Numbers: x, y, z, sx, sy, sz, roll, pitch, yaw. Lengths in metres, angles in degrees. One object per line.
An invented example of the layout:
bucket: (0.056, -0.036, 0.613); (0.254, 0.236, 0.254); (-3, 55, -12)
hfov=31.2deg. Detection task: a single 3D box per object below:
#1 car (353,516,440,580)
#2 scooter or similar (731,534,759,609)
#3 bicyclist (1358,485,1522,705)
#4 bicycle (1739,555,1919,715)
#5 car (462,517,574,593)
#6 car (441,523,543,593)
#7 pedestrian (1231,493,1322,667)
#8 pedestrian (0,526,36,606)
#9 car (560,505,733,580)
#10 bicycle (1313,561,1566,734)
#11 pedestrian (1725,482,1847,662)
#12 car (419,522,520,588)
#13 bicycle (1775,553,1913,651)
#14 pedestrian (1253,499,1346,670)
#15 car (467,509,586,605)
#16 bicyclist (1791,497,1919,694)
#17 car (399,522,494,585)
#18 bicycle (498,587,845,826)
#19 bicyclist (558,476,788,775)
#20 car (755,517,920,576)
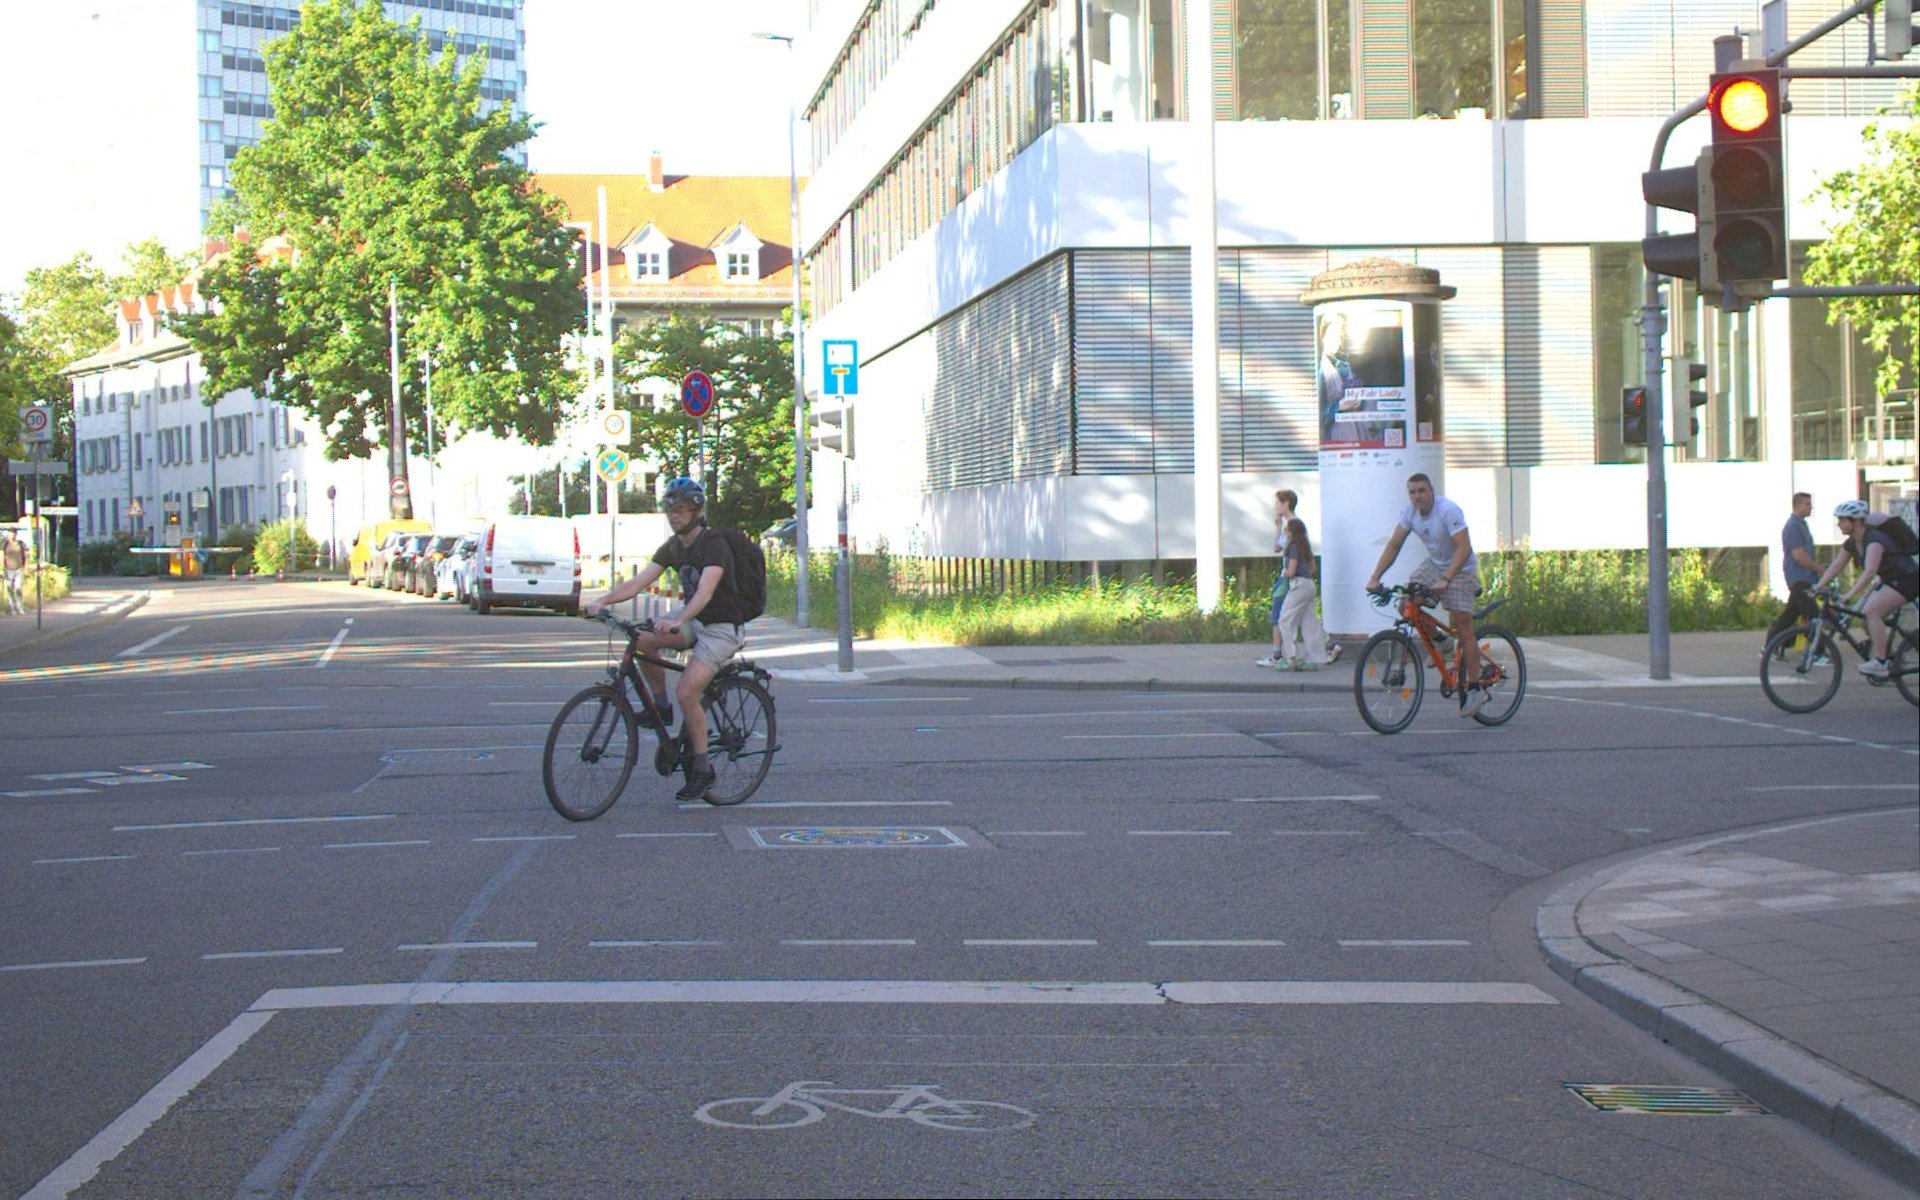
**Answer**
car: (-15.731, -1.446, 95.841); (1.993, 1.719, 4.653); (1, 1, -14)
scooter or similar: (-3.653, -0.491, 58.297); (0.437, 1.252, 1.420); (-1, 1, -4)
bicyclist: (3.403, -0.045, 24.370); (0.916, 1.517, 0.704); (-2, 2, -41)
bicycle: (6.820, 0.247, 25.817); (1.778, 1.148, 0.628); (-1, 1, -10)
car: (-9.164, -0.932, 71.042); (1.993, 1.493, 4.653); (1, 1, -11)
car: (-10.498, -0.932, 76.814); (1.993, 1.493, 4.653); (1, 1, -11)
pedestrian: (3.311, -0.214, 35.964); (0.766, 1.789, 0.647); (1, 0, 22)
pedestrian: (-18.705, -0.678, 68.175); (0.699, 1.581, 0.637); (1, 0, -16)
car: (-9.394, -1.699, 102.937); (4.791, 2.151, 2.001); (1, 0, -17)
bicycle: (3.413, 0.315, 24.367); (1.964, 1.148, 0.627); (-2, 2, -41)
pedestrian: (8.440, -0.287, 35.122); (0.760, 1.809, 0.917); (0, 0, -39)
car: (-11.619, -1.057, 81.261); (1.993, 1.493, 4.288); (1, 1, -13)
bicycle: (9.289, 0.015, 36.153); (0.378, 1.005, 1.432); (-2, 2, -42)
pedestrian: (3.462, -0.163, 35.031); (0.766, 1.713, 0.647); (1, 0, 22)
car: (-8.213, -0.815, 64.829); (1.993, 1.719, 4.653); (1, 1, -10)
bicyclist: (6.831, -0.044, 25.804); (0.971, 1.441, 0.628); (-1, 1, -10)
car: (-12.872, -1.160, 85.985); (1.993, 1.493, 4.653); (1, 1, -13)
bicycle: (-1.492, 0.530, 18.129); (0.592, 1.148, 1.965); (0, 2, 40)
bicyclist: (-1.506, 0.117, 18.129); (0.592, 1.522, 1.076); (0, 2, 40)
car: (-3.747, -1.628, 104.781); (4.635, 1.719, 2.001); (1, 0, -16)
